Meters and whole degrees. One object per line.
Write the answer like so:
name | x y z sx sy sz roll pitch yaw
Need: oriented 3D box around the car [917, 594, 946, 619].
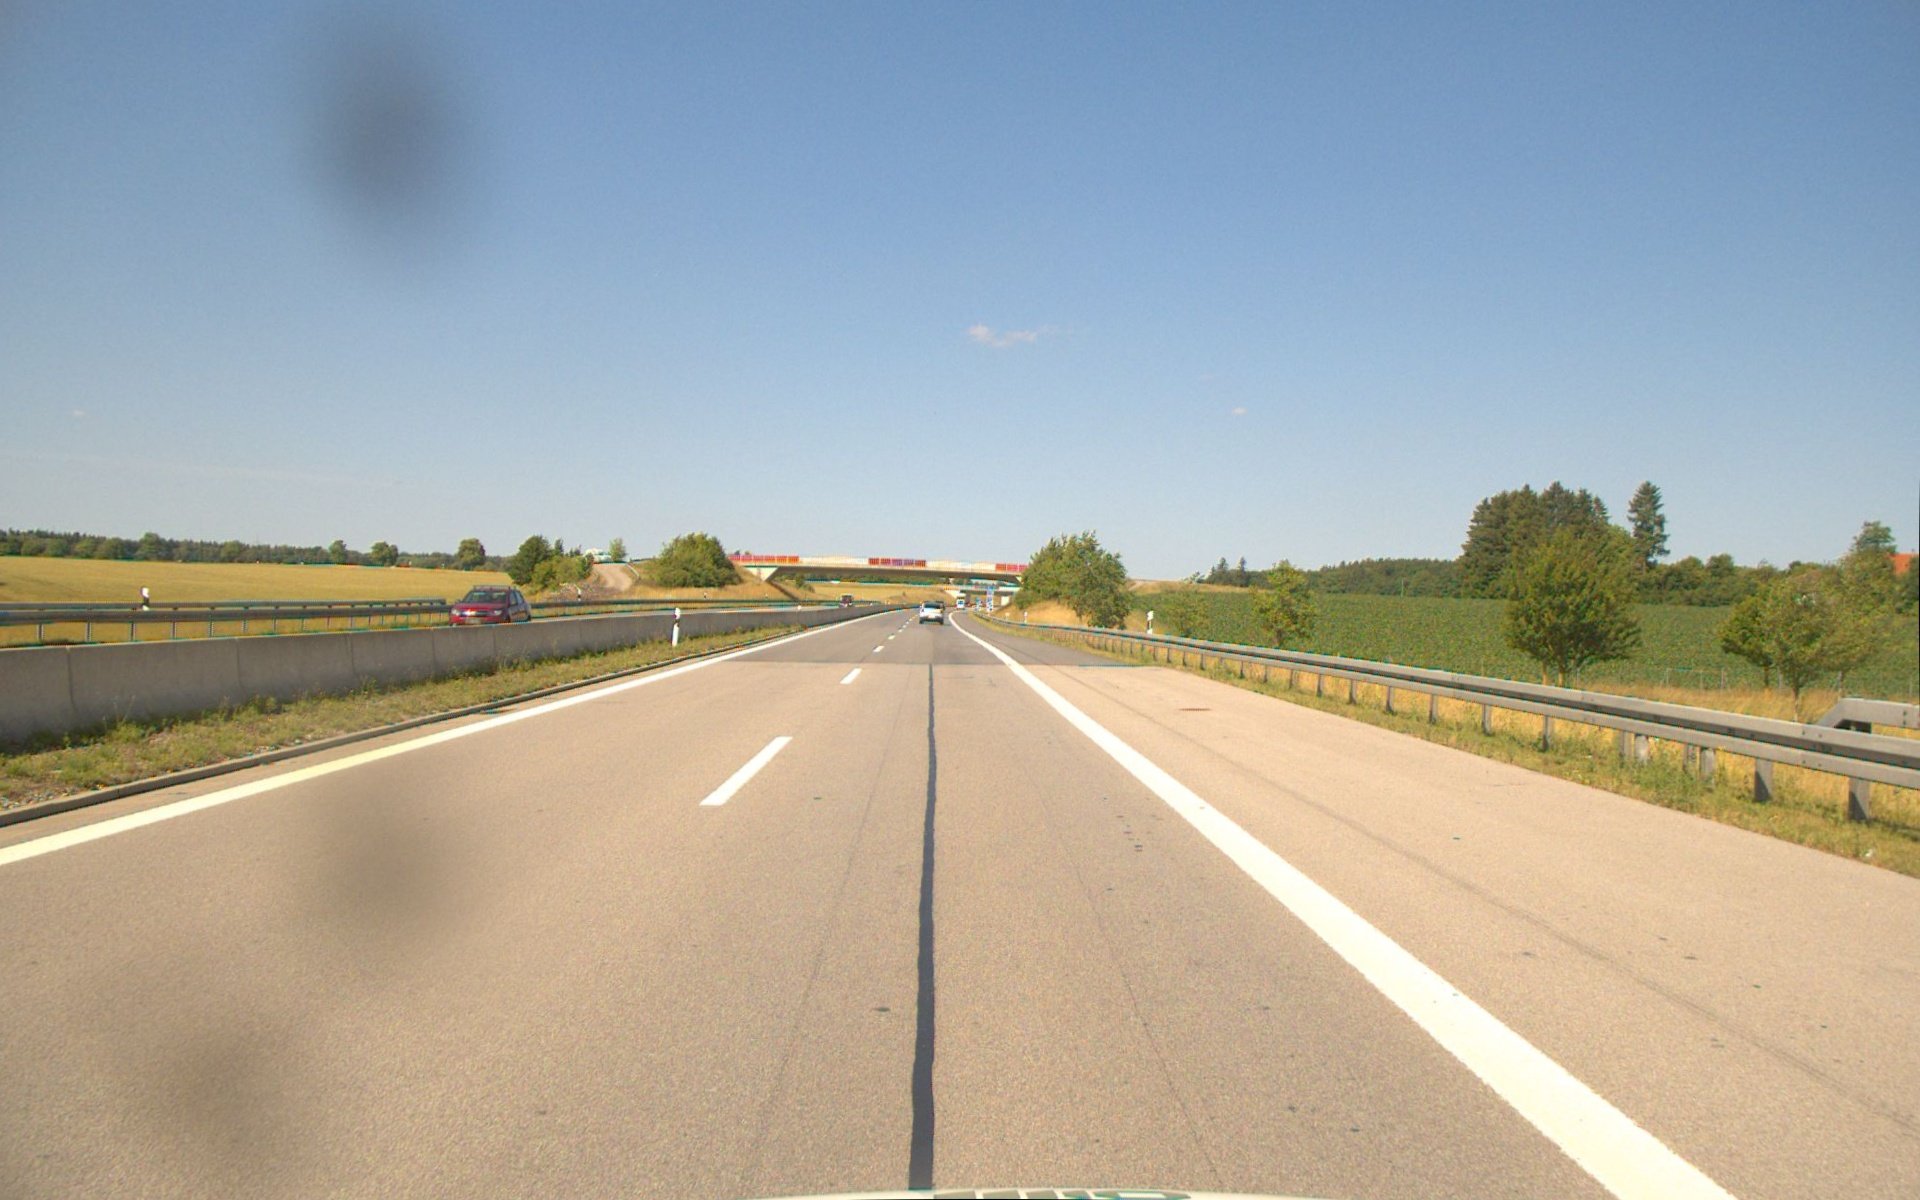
car | -2.171 0.497 124.286 1.954 1.761 4.866 2 0 -3

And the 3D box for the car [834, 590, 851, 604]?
car | -15.666 -0.361 220.782 1.869 1.714 5.006 4 0 -1

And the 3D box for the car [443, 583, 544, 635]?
car | -14.626 0.282 52.101 1.859 1.550 4.805 -1 0 -1
